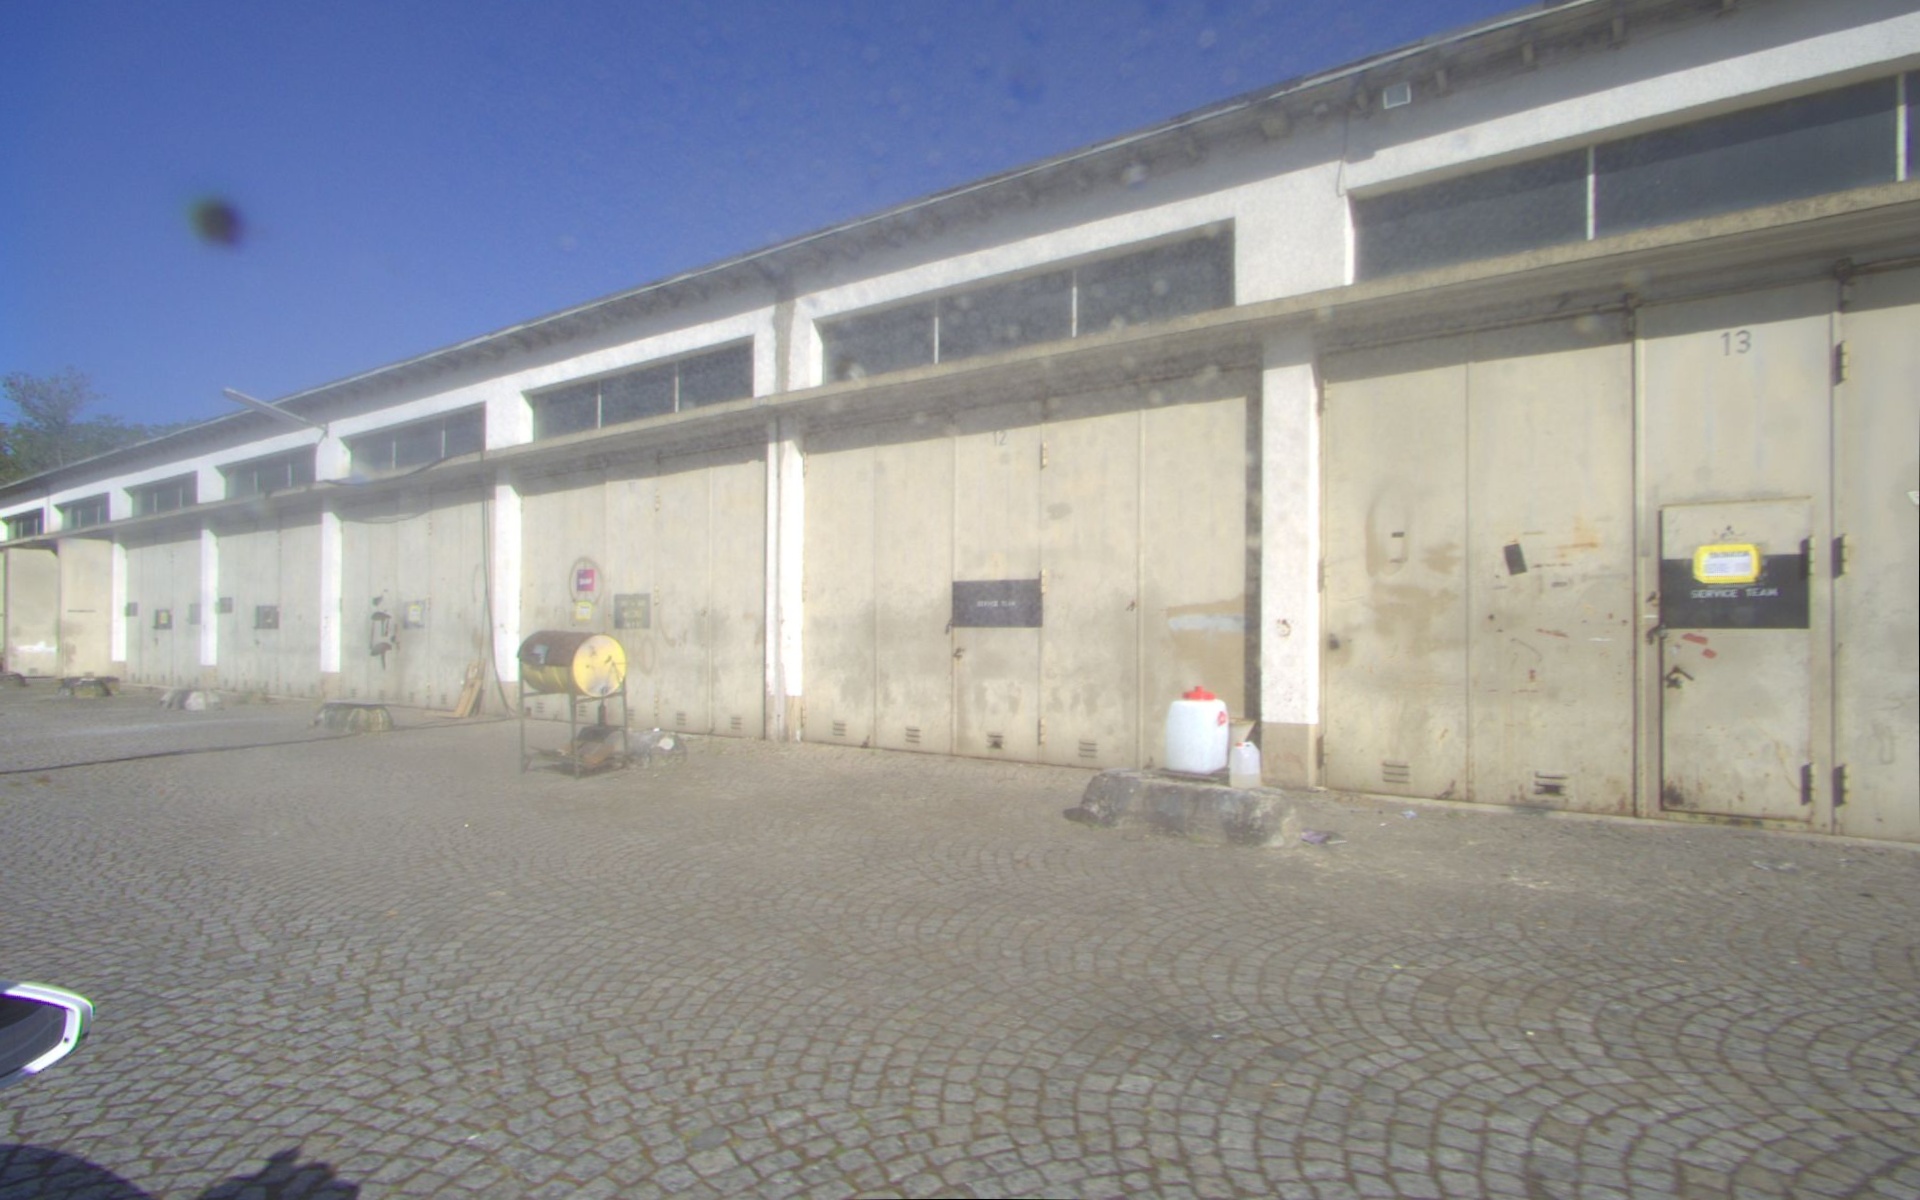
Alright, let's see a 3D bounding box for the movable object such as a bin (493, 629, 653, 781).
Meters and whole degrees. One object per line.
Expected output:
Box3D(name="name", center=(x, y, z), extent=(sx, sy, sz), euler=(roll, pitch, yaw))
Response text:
Box3D(name="movable object such as a bin", center=(-3.705, 0.956, 9.593), extent=(1.261, 1.348, 0.822), euler=(0, -2, 30))
